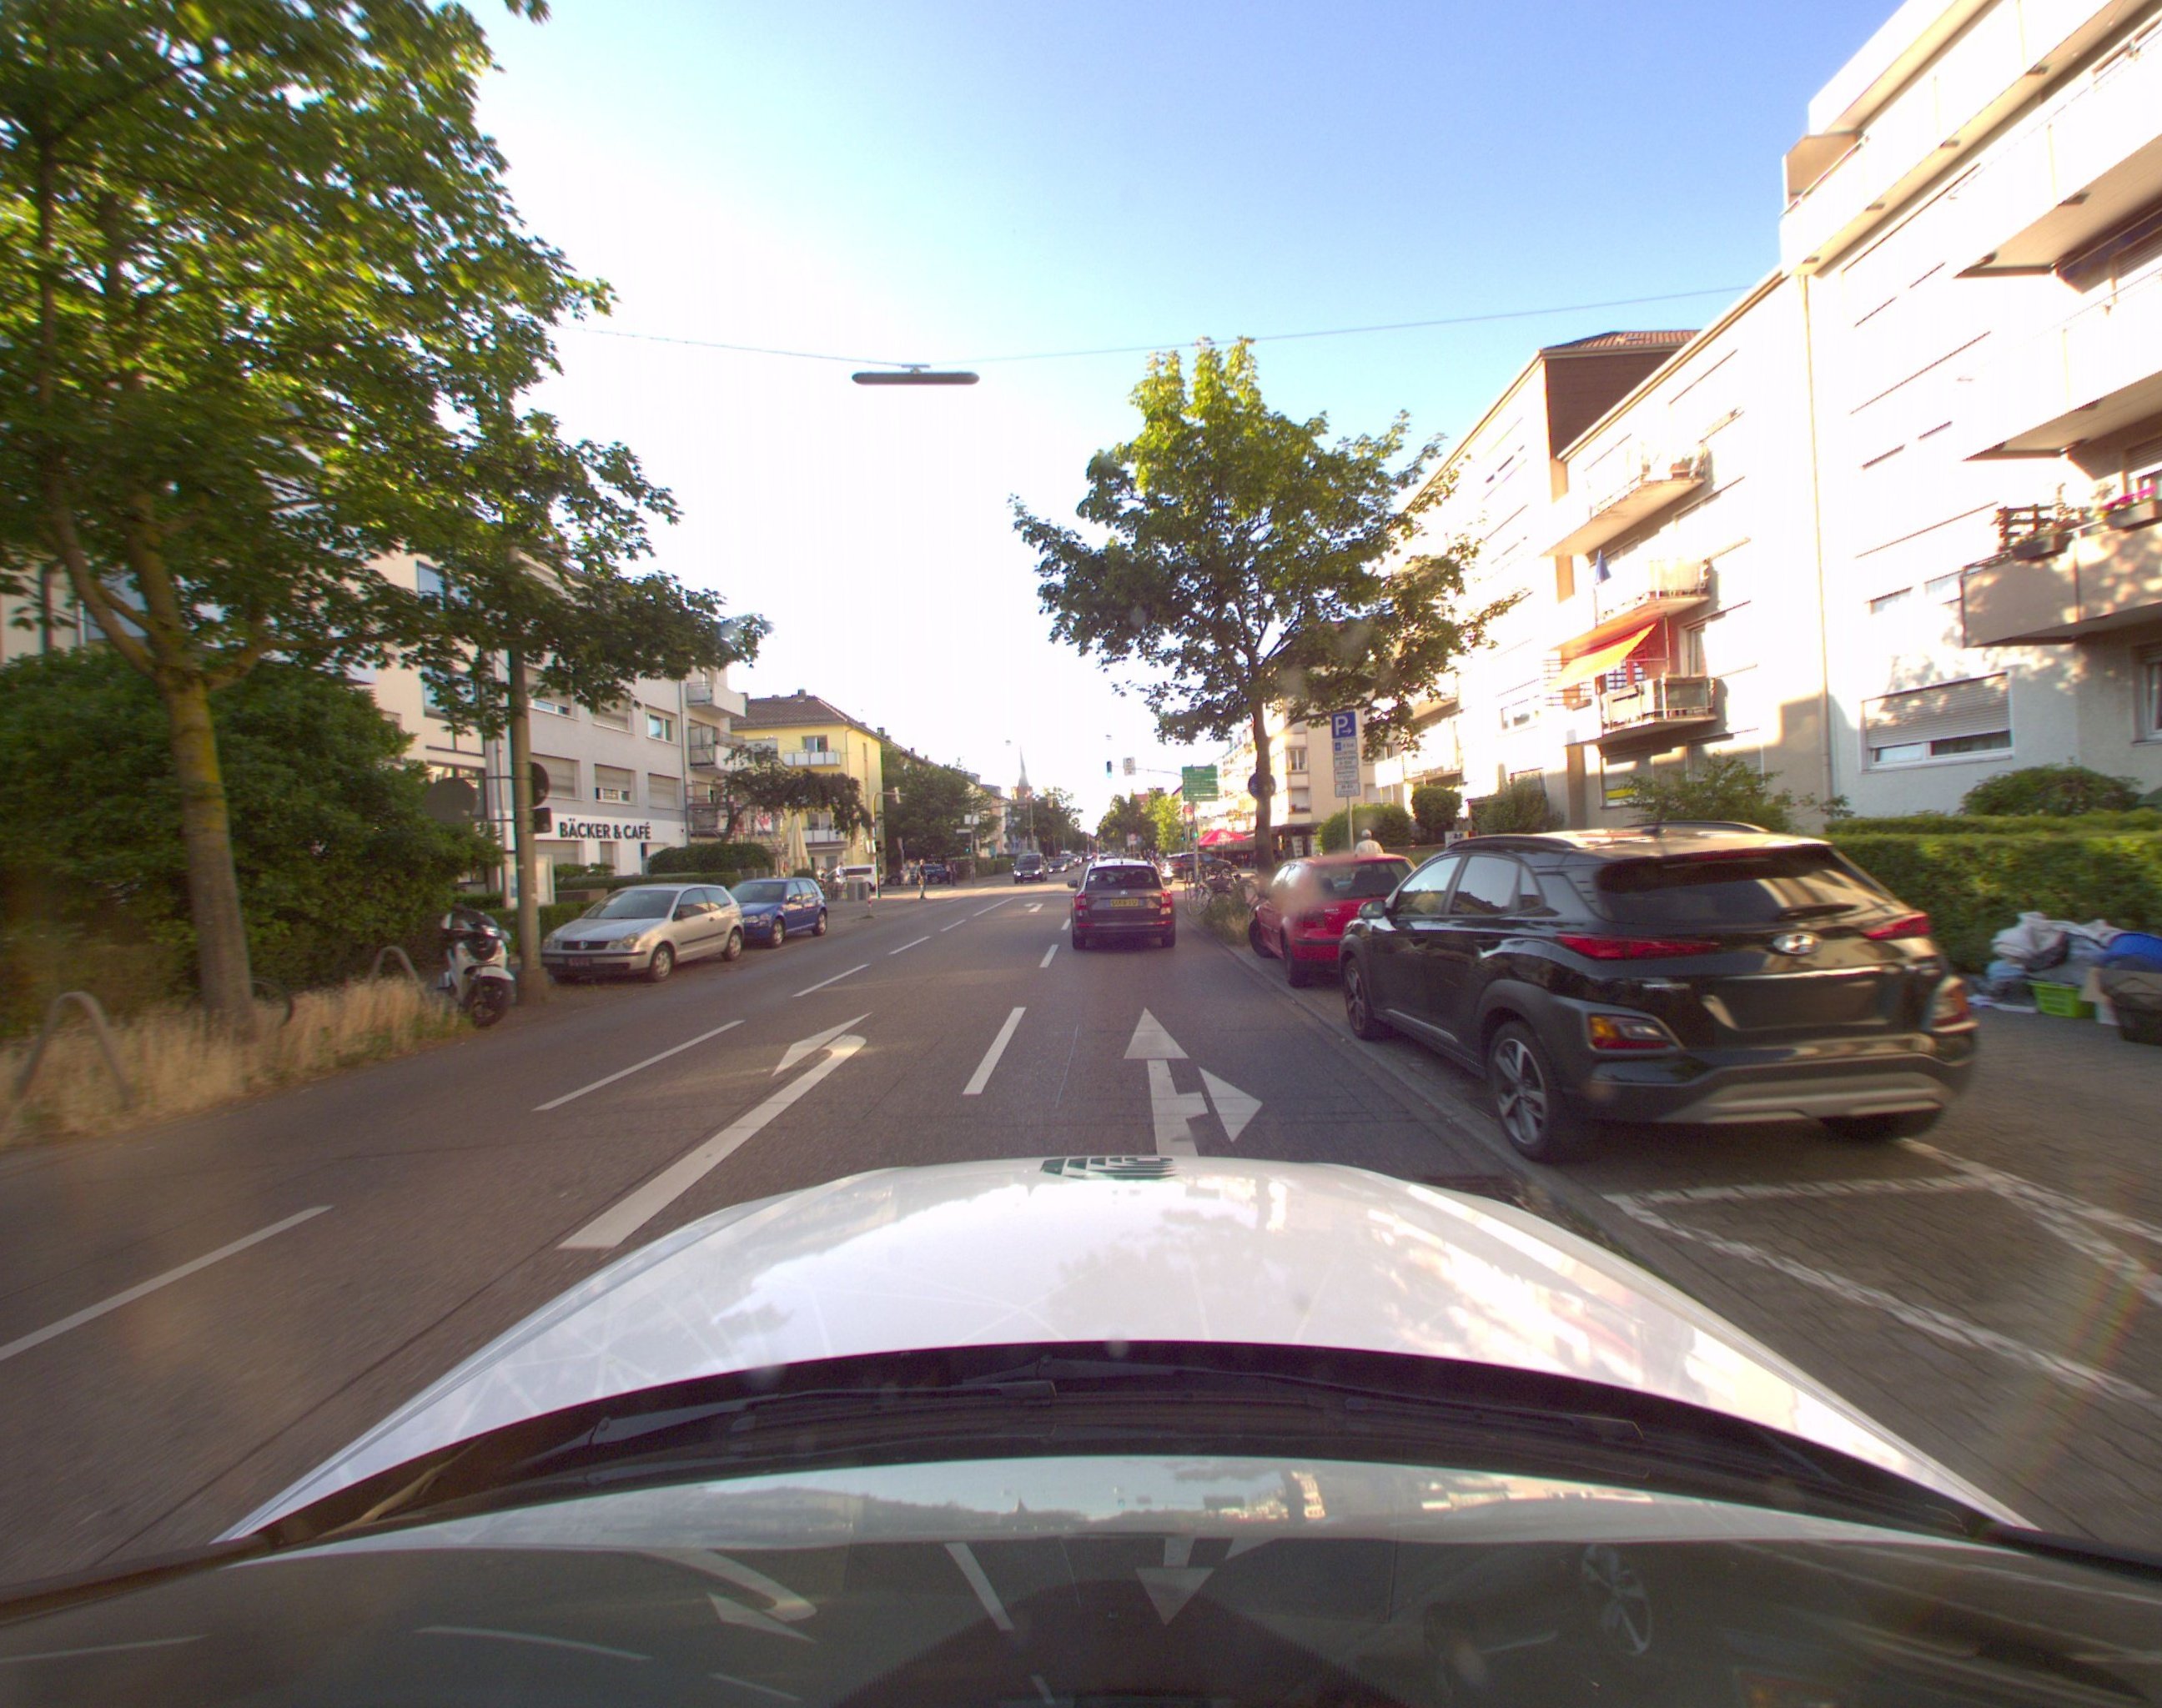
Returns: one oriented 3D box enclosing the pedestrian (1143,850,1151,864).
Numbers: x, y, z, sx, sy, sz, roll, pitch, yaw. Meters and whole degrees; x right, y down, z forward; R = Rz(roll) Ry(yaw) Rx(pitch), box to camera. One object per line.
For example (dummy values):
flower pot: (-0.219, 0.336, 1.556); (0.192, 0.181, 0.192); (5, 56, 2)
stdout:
pedestrian: (8.213, 0.319, 101.630); (0.668, 1.704, 0.806); (-3, -1, 28)

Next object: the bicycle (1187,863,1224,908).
bicycle: (3.401, 0.842, 22.409); (0.501, 1.147, 1.956); (-5, -1, -4)

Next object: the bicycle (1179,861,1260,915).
bicycle: (3.391, 0.827, 20.028); (1.824, 1.157, 0.685); (-5, -1, 7)

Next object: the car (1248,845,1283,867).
car: (13.430, 0.162, 59.497); (1.769, 1.486, 4.002); (-3, 0, 2)

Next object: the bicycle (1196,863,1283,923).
bicycle: (3.308, 0.812, 17.068); (1.677, 1.107, 0.518); (-5, -1, 7)

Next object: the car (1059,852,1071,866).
car: (-3.043, 0.863, 152.538); (1.986, 2.478, 4.001); (-3, 0, 1)

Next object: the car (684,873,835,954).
car: (-7.046, 1.235, 18.342); (1.642, 1.517, 4.075); (-1, 0, 2)

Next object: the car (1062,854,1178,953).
car: (0.652, 0.775, 14.779); (1.767, 1.489, 4.312); (-2, 0, 1)

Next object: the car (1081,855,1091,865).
car: (1.034, 1.203, 176.557); (1.986, 2.013, 4.002); (-3, 0, 2)

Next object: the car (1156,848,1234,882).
car: (6.046, 0.557, 43.025); (4.021, 1.552, 1.784); (-3, 0, -40)

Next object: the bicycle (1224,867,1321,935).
bicycle: (3.369, 0.819, 14.382); (1.564, 1.104, 0.501); (-3, -1, 2)

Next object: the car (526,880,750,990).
car: (-7.189, 1.237, 13.700); (1.587, 1.470, 3.805); (-1, 0, 2)

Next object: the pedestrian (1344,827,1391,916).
pedestrian: (5.917, 0.358, 16.837); (0.659, 1.749, 0.774); (-4, -1, 8)

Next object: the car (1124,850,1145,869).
car: (5.258, 0.564, 80.009); (1.984, 1.772, 4.005); (-1, 0, 4)

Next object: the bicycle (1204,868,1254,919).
bicycle: (3.357, 0.877, 18.406); (0.613, 1.051, 1.583); (-3, 0, 28)

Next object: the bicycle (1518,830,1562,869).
bicycle: (14.388, -0.128, 25.567); (0.354, 1.183, 1.797); (-3, 0, 3)

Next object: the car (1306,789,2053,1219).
car: (2.942, 0.610, 5.266); (1.849, 1.581, 4.014); (-4, 0, 1)

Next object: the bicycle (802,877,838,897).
bicycle: (-15.250, 1.916, 47.618); (1.898, 1.071, 0.717); (-3, -1, -8)

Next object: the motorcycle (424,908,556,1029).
motorcycle: (-7.174, 1.320, 9.846); (2.028, 1.265, 0.772); (-3, -1, 40)

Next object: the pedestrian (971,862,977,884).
pedestrian: (-7.653, 1.348, 58.196); (0.299, 1.504, 0.641); (-3, -1, 2)

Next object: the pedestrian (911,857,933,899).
pedestrian: (-7.658, 1.149, 39.169); (0.777, 1.987, 0.821); (-3, -1, 2)

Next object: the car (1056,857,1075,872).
car: (-1.887, 1.278, 100.535); (1.986, 1.610, 4.002); (-3, 0, 2)

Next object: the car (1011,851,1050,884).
car: (-3.243, 0.845, 52.982); (1.986, 1.908, 4.965); (-5, 0, 1)

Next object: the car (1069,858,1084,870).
car: (-0.634, 1.355, 113.673); (1.780, 1.571, 4.002); (-1, 0, 2)

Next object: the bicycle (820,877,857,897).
bicycle: (-13.918, 1.892, 46.735); (1.898, 1.071, 0.717); (-3, -1, -8)

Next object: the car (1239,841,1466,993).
car: (3.183, 0.654, 10.406); (1.696, 1.450, 4.017); (-4, 0, 4)

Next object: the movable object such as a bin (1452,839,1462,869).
movable object such as a bin: (14.398, 0.005, 31.165); (0.198, 1.127, 0.316); (-3, -1, 0)

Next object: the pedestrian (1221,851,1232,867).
pedestrian: (11.533, 0.373, 64.706); (0.726, 1.198, 0.856); (-3, 0, 2)

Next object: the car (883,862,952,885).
car: (-11.990, 1.442, 60.013); (4.618, 1.535, 1.862); (-2, 0, 1)

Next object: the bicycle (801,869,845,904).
bicycle: (-13.699, 1.705, 43.220); (2.017, 1.706, 0.757); (-3, -1, -1)

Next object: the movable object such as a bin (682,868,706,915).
movable object such as a bin: (-12.000, 1.148, 25.264); (0.390, 1.427, 0.575); (-3, -1, 0)

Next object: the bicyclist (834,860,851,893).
bicyclist: (-13.678, 1.277, 46.778); (0.738, 1.823, 0.652); (-3, -1, -7)

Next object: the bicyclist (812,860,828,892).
bicyclist: (-15.268, 1.305, 47.646); (0.738, 1.823, 0.652); (-3, -1, -7)

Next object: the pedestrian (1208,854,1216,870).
pedestrian: (10.567, 0.631, 65.600); (0.497, 1.302, 0.507); (-3, -1, -1)

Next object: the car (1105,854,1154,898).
car: (1.816, 0.790, 30.939); (1.730, 1.571, 4.002); (-1, 0, 2)

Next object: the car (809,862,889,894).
car: (-15.356, 1.583, 54.072); (4.618, 1.812, 1.862); (-3, -1, 1)

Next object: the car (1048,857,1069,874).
car: (-2.283, 1.165, 82.768); (1.823, 1.579, 4.002); (-3, 0, 2)

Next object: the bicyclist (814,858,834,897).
bicyclist: (-13.644, 1.251, 43.309); (0.723, 2.013, 0.843); (-3, -1, -1)

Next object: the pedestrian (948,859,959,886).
pedestrian: (-8.931, 1.287, 56.955); (0.613, 1.797, 0.504); (-3, -1, 2)

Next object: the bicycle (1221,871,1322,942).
bicycle: (3.206, 0.871, 13.749); (1.564, 1.104, 0.392); (-3, -1, 2)

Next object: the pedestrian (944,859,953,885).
pedestrian: (-9.336, 1.296, 57.517); (0.448, 1.797, 0.504); (-3, -1, 2)
